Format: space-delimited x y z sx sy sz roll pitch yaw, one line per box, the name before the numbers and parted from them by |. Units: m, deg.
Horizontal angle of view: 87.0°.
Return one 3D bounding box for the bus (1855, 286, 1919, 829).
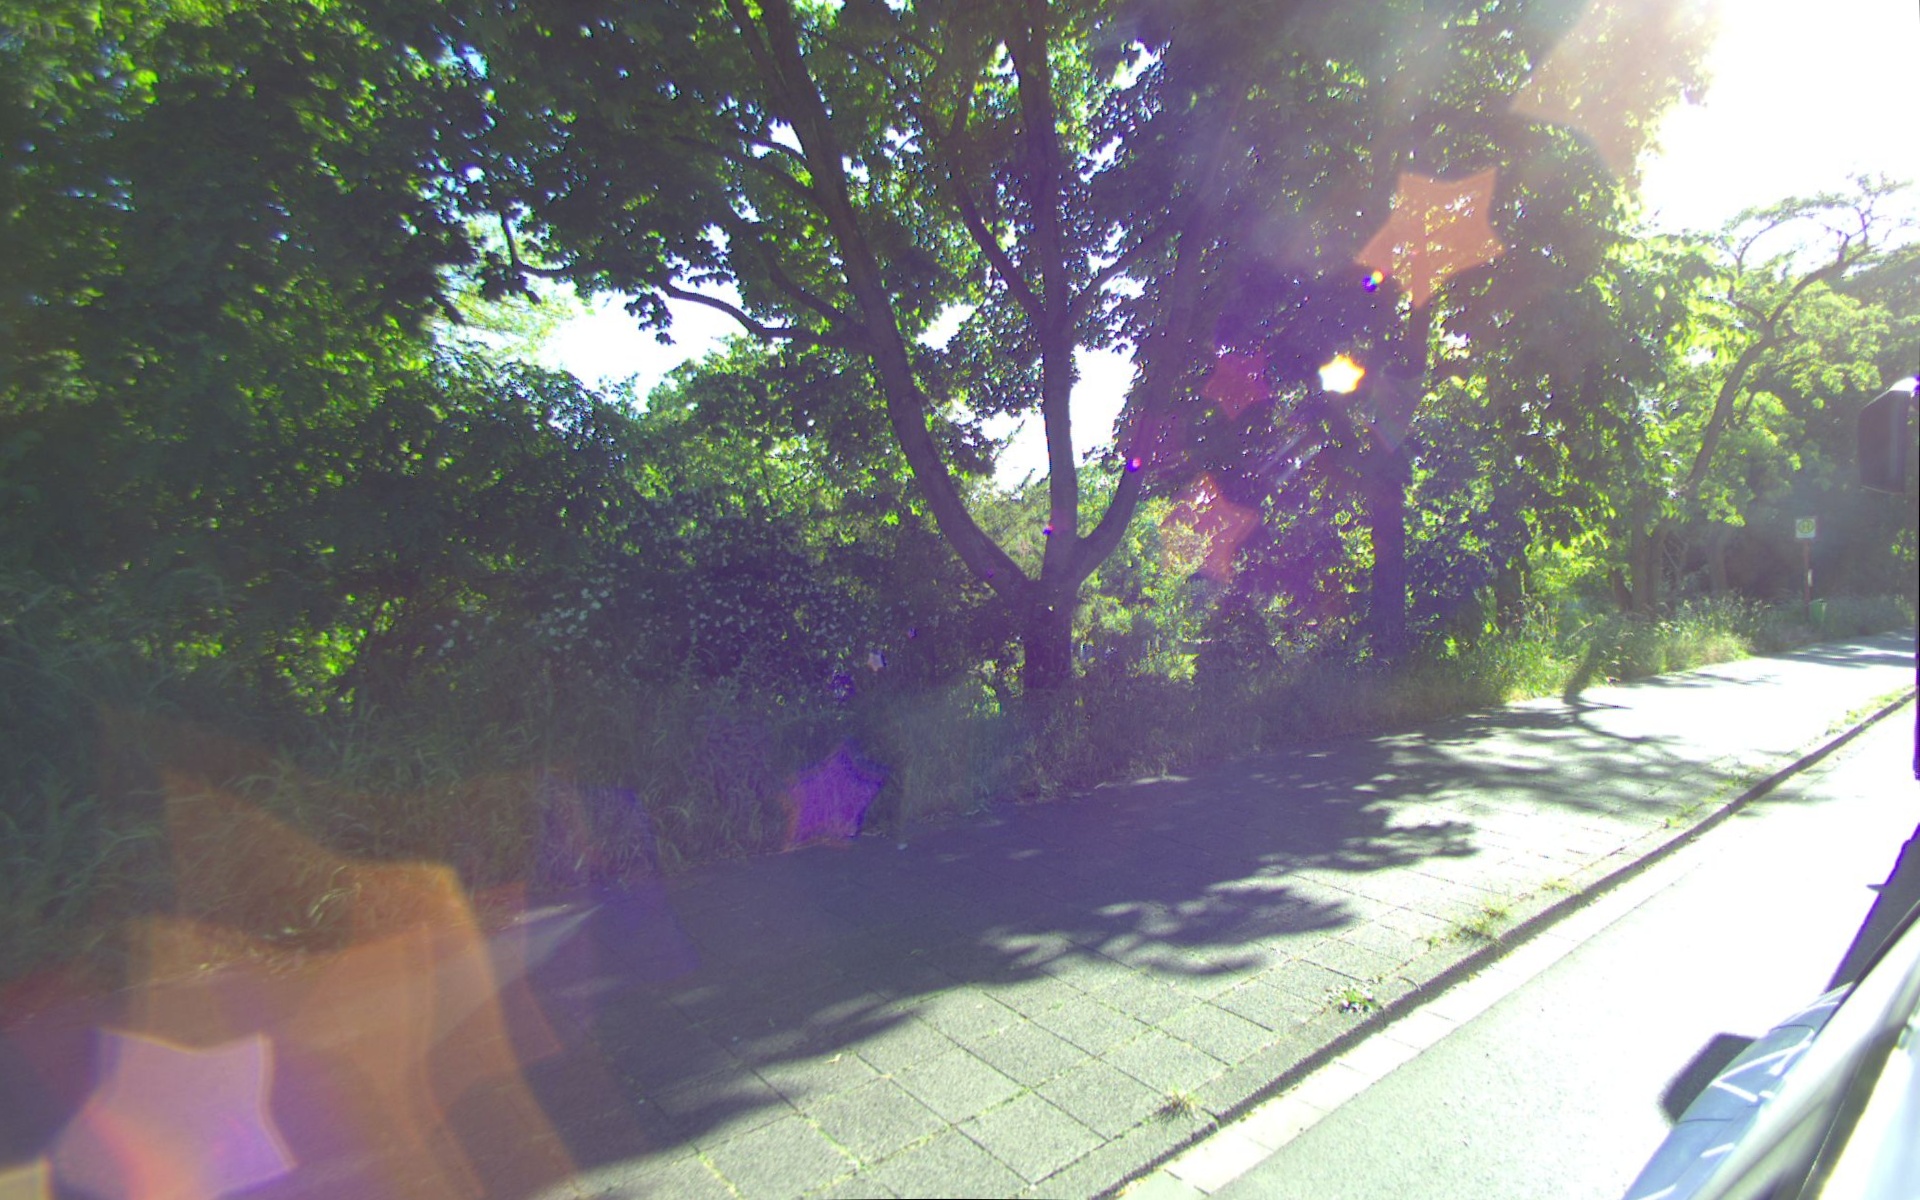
bus | 11.002 -0.304 8.889 12.261 3.137 3.125 -1 0 -41
